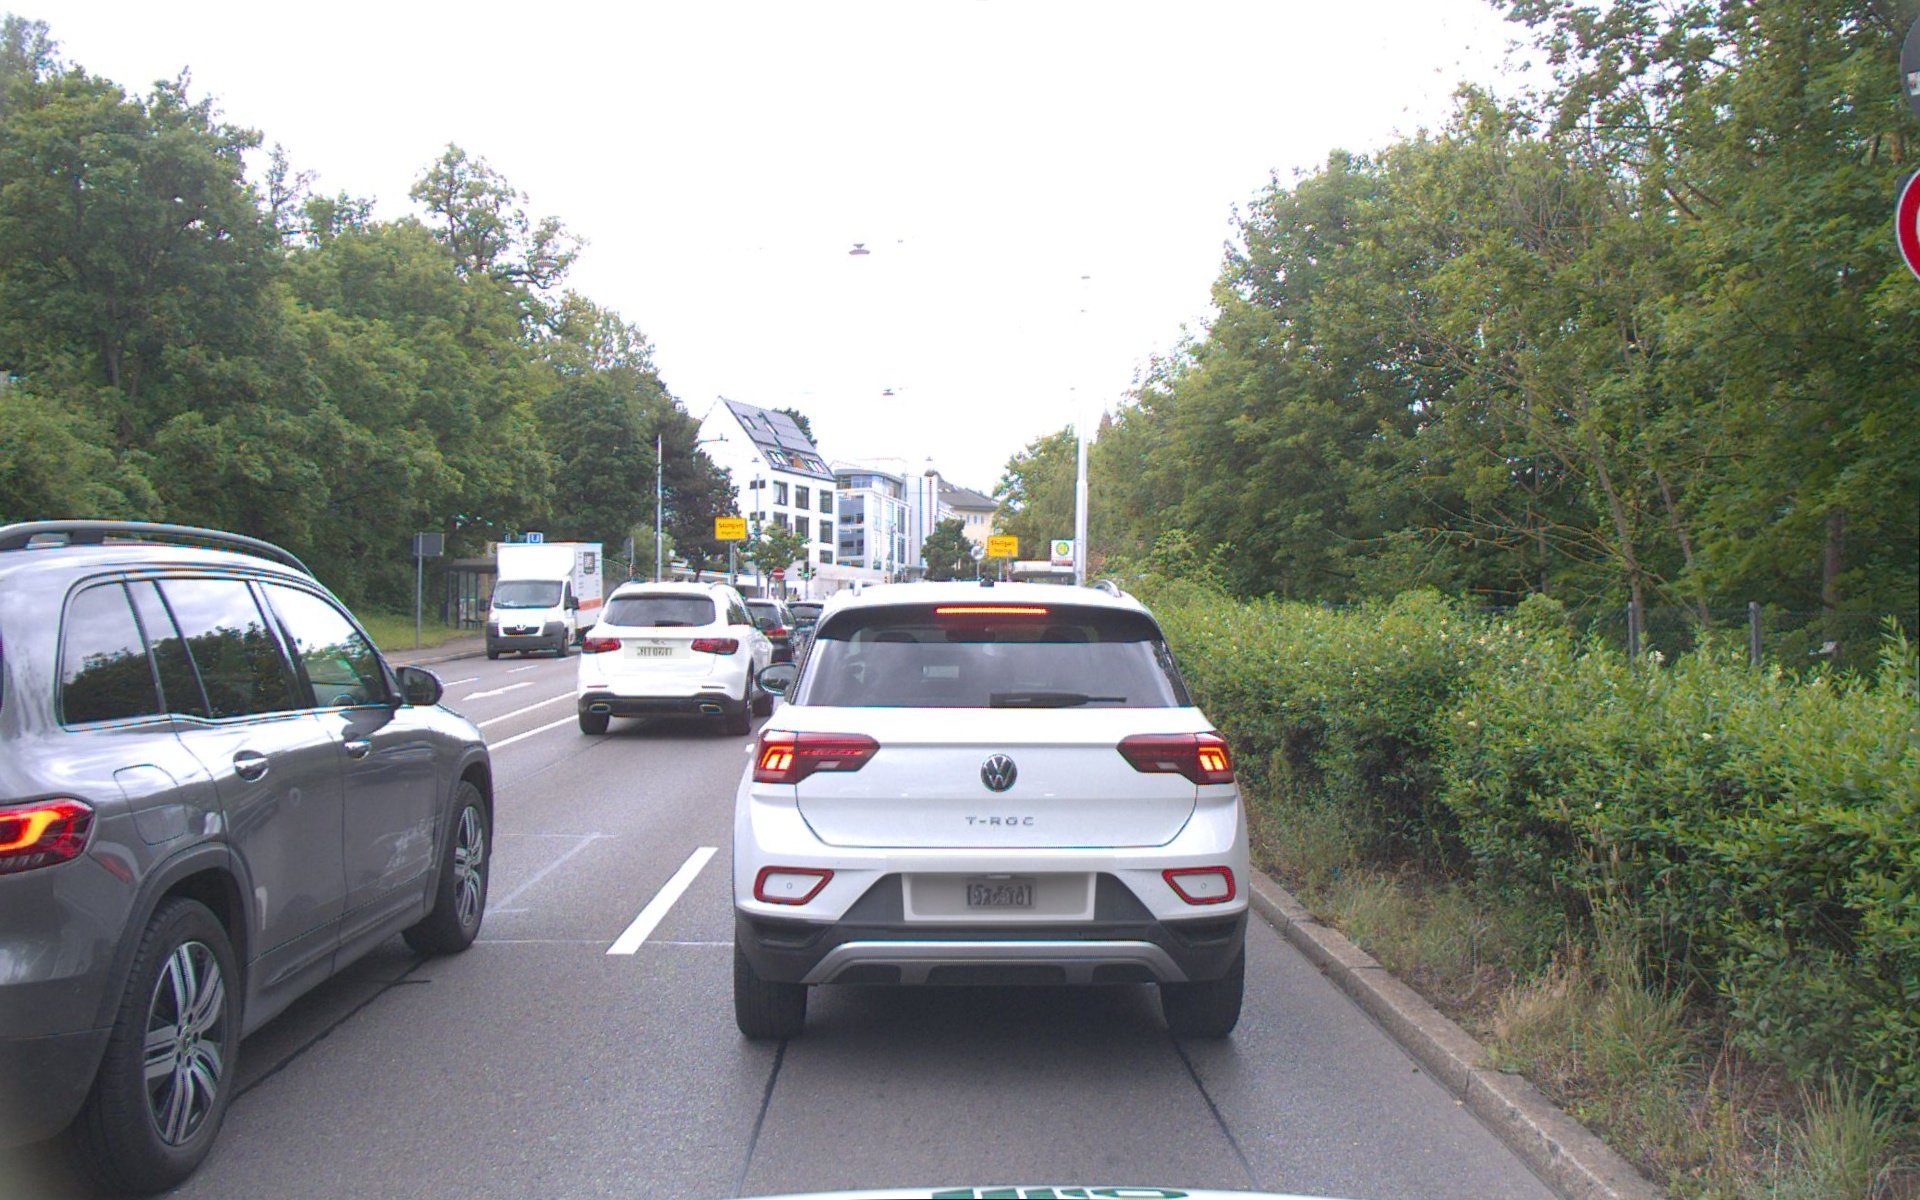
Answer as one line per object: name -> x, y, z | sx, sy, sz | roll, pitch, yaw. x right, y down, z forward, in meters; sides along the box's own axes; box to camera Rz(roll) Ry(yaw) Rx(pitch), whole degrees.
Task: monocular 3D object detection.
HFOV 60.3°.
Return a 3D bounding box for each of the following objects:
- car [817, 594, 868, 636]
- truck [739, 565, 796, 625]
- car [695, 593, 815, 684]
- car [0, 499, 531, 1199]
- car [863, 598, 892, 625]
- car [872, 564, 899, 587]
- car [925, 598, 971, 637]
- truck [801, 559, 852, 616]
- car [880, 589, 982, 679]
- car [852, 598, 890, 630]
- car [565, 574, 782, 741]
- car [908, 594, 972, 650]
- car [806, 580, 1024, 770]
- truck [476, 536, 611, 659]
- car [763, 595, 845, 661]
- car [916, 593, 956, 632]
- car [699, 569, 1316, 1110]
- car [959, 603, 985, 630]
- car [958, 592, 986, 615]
car -> -4.484, 0.563, 63.515 | 1.792, 1.552, 3.999 | -1, 0, -2
truck -> -9.330, -0.240, 80.628 | 2.315, 2.754, 4.476 | -1, 0, -2
car -> -3.680, 0.651, 30.324 | 1.792, 1.523, 3.999 | -1, 0, -2
car -> -2.770, 0.640, 5.292 | 1.812, 1.680, 4.355 | 0, 0, -2
car -> -5.433, 0.767, 108.974 | 1.778, 1.685, 3.927 | -1, 0, -2
car -> -5.250, -1.699, 116.710 | 1.792, 1.552, 3.999 | -1, 0, -2
car -> -0.535, 0.728, 69.327 | 1.792, 1.552, 3.999 | -1, 0, -2
truck -> -6.839, -0.629, 85.231 | 2.315, 2.830, 4.476 | -1, 0, -2
car -> -0.569, 0.594, 31.177 | 1.792, 1.552, 3.999 | -1, 0, -2
car -> -4.520, 0.686, 84.120 | 1.792, 1.552, 3.999 | -1, 0, -2
car -> -3.162, 0.589, 19.001 | 1.879, 1.698, 3.999 | 1, 0, -2
car -> -0.624, 0.627, 48.799 | 1.792, 1.552, 3.999 | -1, 0, -2
car -> -0.430, 0.619, 15.807 | 1.792, 1.552, 3.999 | -1, 0, -2
truck -> -11.386, -0.045, 45.781 | 2.247, 3.104, 6.975 | -1, 0, -3
car -> -3.902, 0.663, 41.833 | 1.792, 1.552, 3.999 | -1, 0, -2
car -> -1.316, 0.663, 89.068 | 1.954, 2.004, 3.998 | -1, 0, -3
car -> 0.087, 0.685, 6.802 | 1.792, 1.552, 3.999 | 0, 0, -2
car -> 0.902, 1.279, 126.530 | 1.953, 2.049, 3.999 | -1, -1, 0
car -> 0.800, 0.215, 114.732 | 1.792, 1.552, 3.999 | -1, 0, -2
